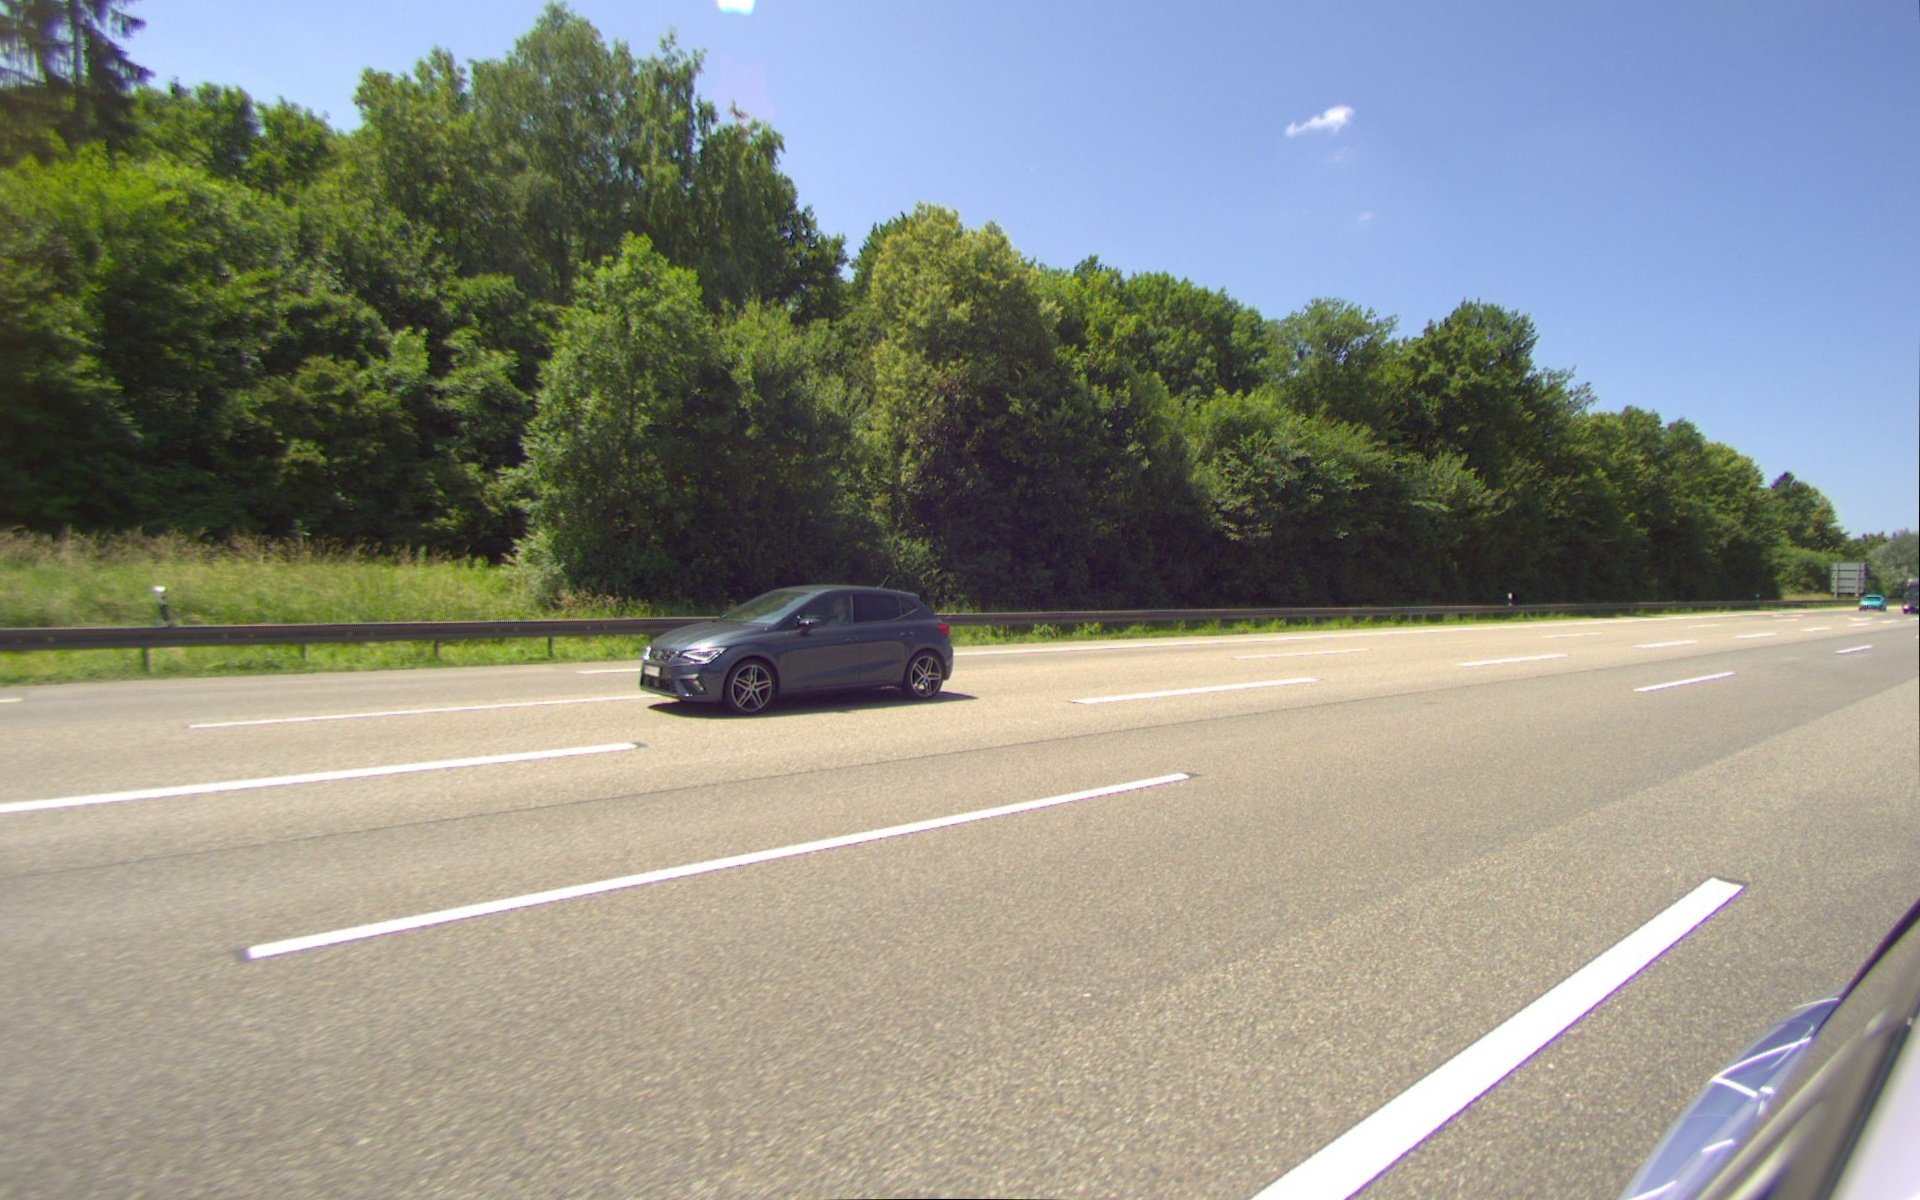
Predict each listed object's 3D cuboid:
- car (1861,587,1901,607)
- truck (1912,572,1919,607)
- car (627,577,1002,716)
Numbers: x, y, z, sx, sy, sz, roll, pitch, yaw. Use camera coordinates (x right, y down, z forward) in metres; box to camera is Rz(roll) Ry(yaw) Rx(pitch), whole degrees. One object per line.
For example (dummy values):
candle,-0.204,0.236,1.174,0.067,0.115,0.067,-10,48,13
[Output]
car,82.794,-0.252,90.947,4.053,1.701,1.999,0,3,-39
truck,84.166,-0.813,86.420,10.689,2.891,2.661,0,3,-39
car,-1.676,0.478,12.800,4.554,1.457,1.646,0,0,-41
